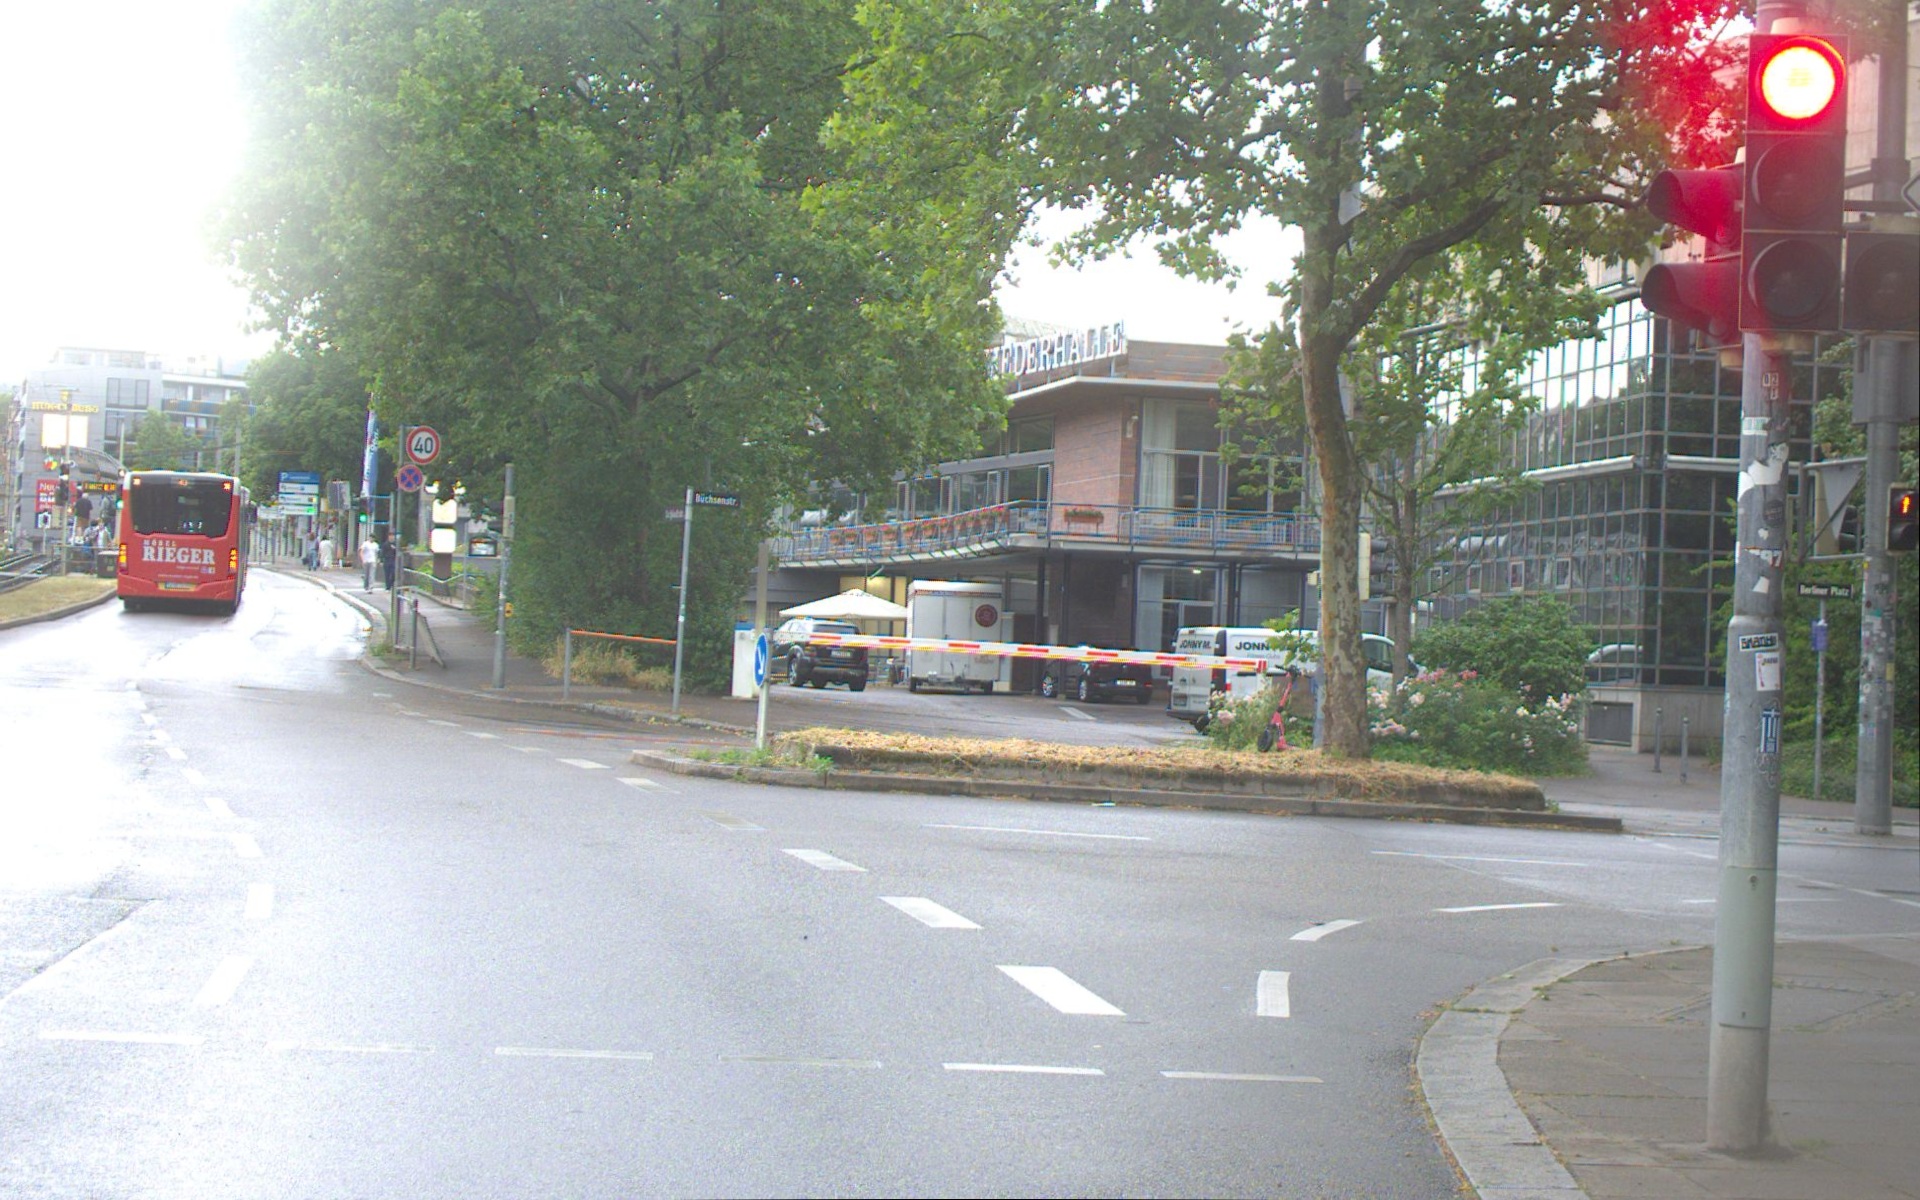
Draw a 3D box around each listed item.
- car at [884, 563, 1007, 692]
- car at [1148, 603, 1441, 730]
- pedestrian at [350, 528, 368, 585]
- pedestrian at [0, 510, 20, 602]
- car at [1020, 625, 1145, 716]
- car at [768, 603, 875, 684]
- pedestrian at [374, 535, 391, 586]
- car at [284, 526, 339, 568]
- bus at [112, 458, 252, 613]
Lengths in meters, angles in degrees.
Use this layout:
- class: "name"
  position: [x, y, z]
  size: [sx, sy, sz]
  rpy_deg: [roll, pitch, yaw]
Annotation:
- class: "car"
  position: [-0.416, 0.710, 90.560]
  size: [2.544, 3.123, 5.032]
  rpy_deg: [4, -1, -6]
- class: "car"
  position: [6.037, 1.199, 62.036]
  size: [4.745, 1.937, 2.001]
  rpy_deg: [4, -1, -22]
- class: "pedestrian"
  position: [-18.189, -1.312, 104.051]
  size: [0.371, 1.702, 0.644]
  rpy_deg: [3, 0, -1]
- class: "pedestrian"
  position: [-17.447, -0.804, 62.210]
  size: [0.737, 1.634, 0.871]
  rpy_deg: [4, -1, -15]
- class: "car"
  position: [2.972, 1.700, 84.456]
  size: [1.993, 2.007, 4.001]
  rpy_deg: [4, -1, -13]
- class: "car"
  position: [-3.568, 1.095, 87.938]
  size: [1.993, 1.853, 4.001]
  rpy_deg: [4, -1, -12]
- class: "pedestrian"
  position: [-17.508, -1.193, 104.237]
  size: [0.371, 1.520, 0.344]
  rpy_deg: [3, 0, -1]
- class: "car"
  position: [-28.334, -2.304, 150.144]
  size: [1.993, 1.678, 4.001]
  rpy_deg: [4, -1, -14]
- class: "bus"
  position: [-17.515, -1.395, 77.825]
  size: [2.654, 3.100, 9.187]
  rpy_deg: [4, -1, -11]
